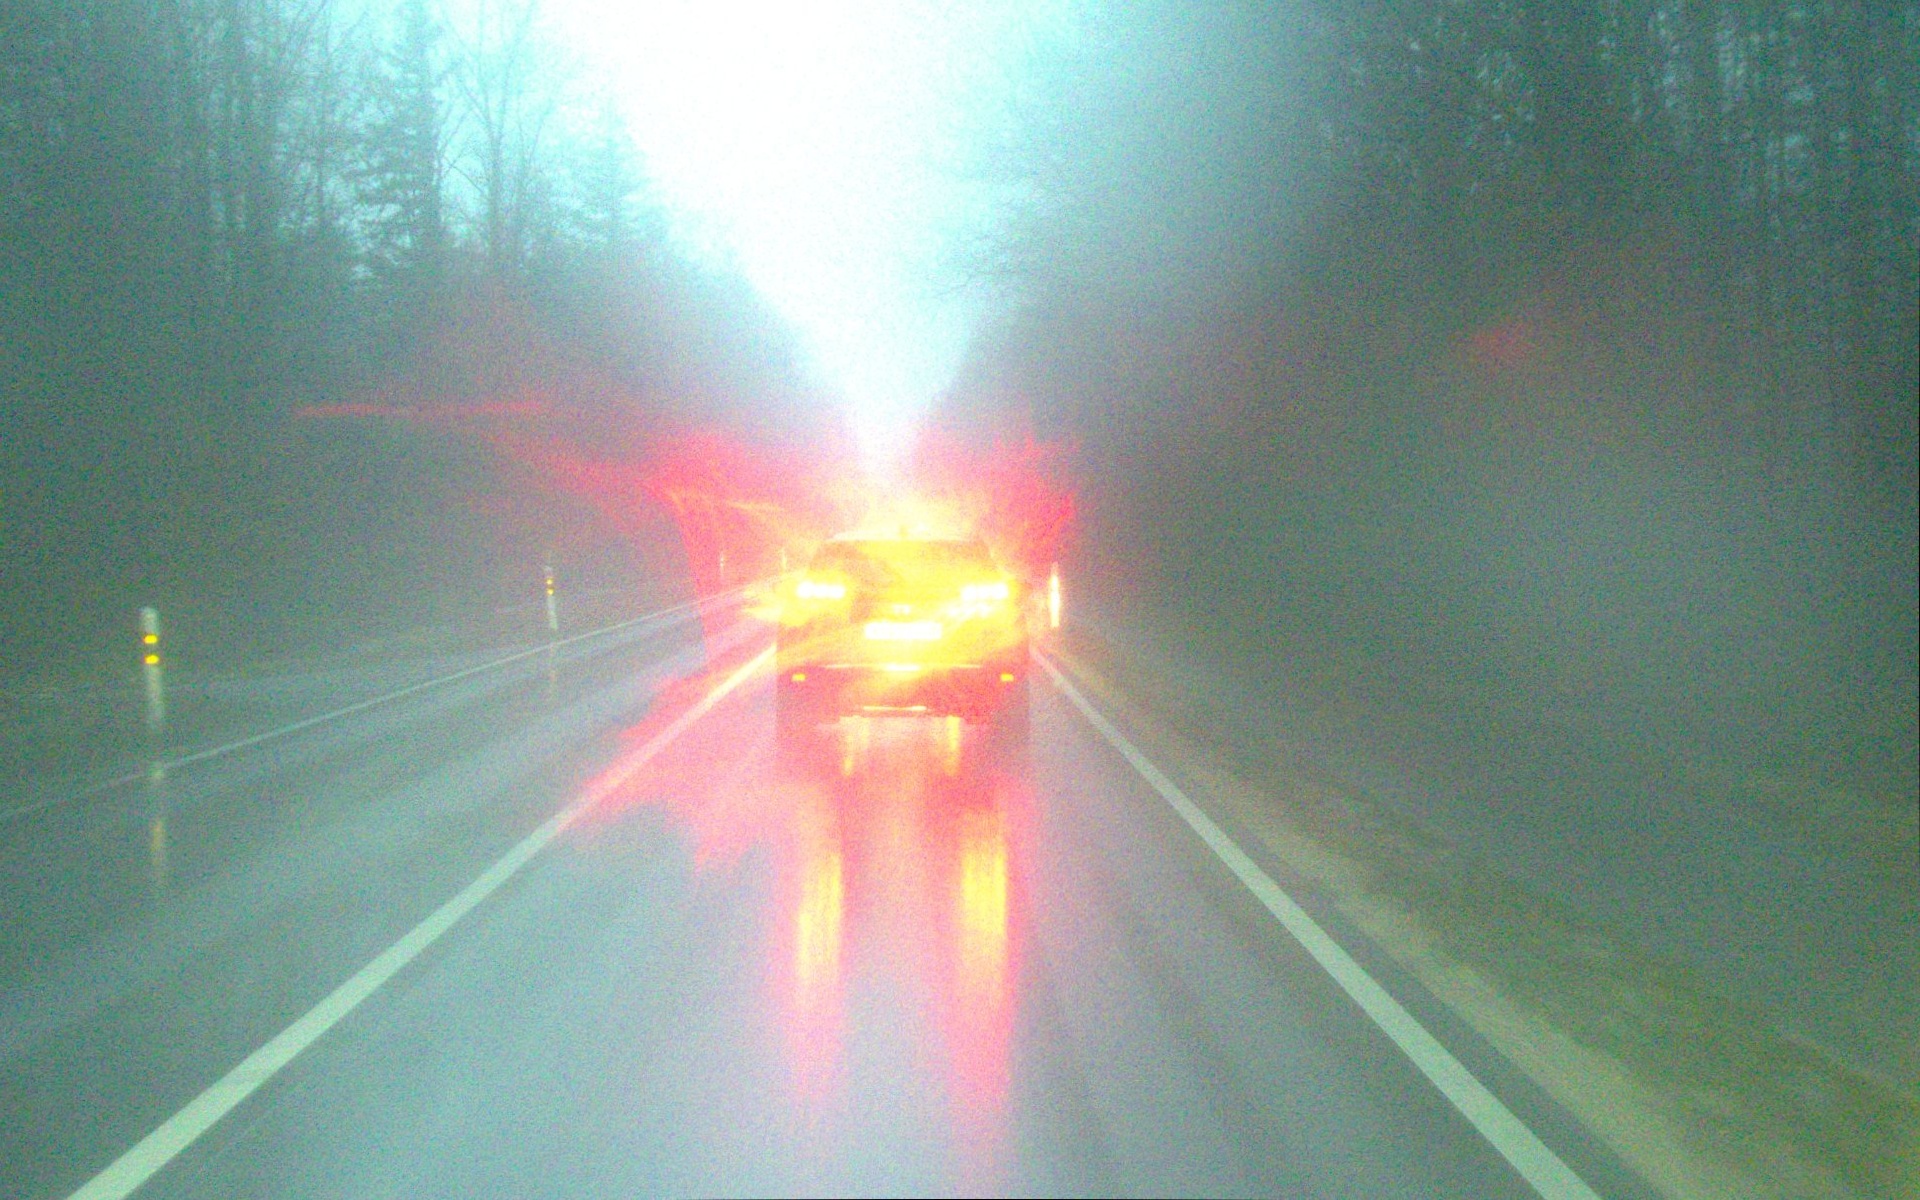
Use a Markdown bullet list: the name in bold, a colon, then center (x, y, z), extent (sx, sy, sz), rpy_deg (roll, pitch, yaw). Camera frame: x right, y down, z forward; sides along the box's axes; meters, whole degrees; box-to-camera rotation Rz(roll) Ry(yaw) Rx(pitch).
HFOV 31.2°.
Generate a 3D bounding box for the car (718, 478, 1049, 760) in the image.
- **car**: center (-0.560, 0.083, 25.461), extent (2.198, 1.871, 4.827), rpy_deg (1, 1, -1)
